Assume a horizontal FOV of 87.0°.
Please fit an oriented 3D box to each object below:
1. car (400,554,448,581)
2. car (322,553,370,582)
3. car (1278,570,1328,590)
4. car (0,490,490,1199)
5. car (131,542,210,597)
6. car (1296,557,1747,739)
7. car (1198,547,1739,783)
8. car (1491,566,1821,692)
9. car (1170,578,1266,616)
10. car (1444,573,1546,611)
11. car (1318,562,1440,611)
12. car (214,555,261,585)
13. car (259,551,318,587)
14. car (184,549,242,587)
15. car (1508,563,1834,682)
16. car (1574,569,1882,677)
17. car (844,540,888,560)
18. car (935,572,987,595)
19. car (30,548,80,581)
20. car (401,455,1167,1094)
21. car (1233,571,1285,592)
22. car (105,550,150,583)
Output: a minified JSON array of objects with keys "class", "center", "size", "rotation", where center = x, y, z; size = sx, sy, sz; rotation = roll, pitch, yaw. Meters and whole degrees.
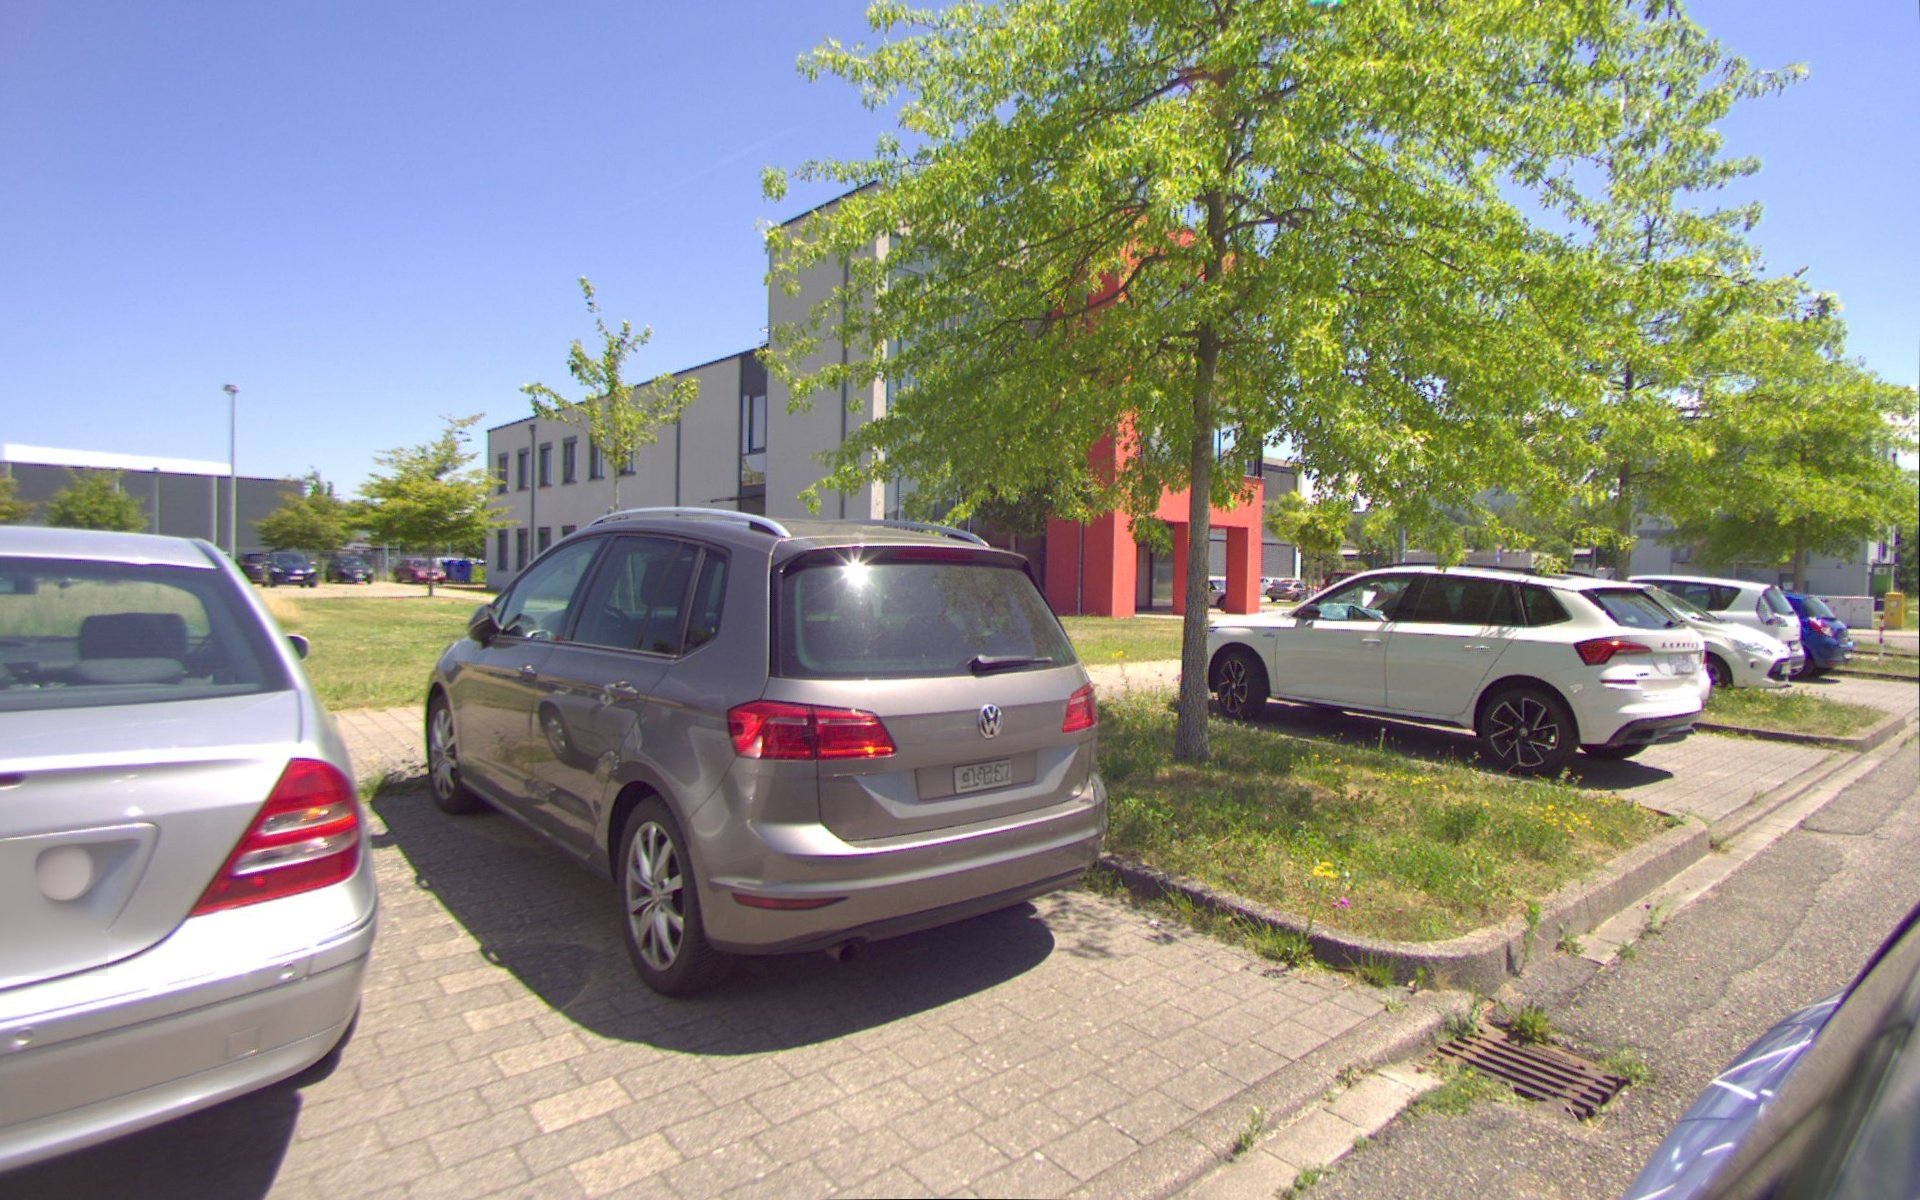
[{"class":"car","center":[-31.721,-1.934,59.820],"size":[1.689,1.528,3.995],"rotation":[0,3,-41]},{"class":"car","center":[-34.489,-1.817,56.764],"size":[1.689,1.528,3.995],"rotation":[0,3,-41]},{"class":"car","center":[28.128,-1.669,83.070],"size":[1.630,1.519,3.623],"rotation":[-3,4,-40]},{"class":"car","center":[-2.871,0.440,3.077],"size":[1.616,1.470,4.057],"rotation":[0,4,-40]},{"class":"car","center":[-23.196,-0.912,29.694],"size":[1.689,1.528,3.330],"rotation":[0,2,-41]},{"class":"car","center":[5.833,0.352,10.876],"size":[1.748,1.543,3.842],"rotation":[0,3,-41]},{"class":"car","center":[4.186,0.368,8.900],"size":[1.746,1.572,3.848],"rotation":[1,2,-36]},{"class":"car","center":[10.051,0.324,14.837],"size":[1.582,1.481,3.628],"rotation":[1,3,-39]},{"class":"car","center":[11.391,-0.138,44.764],"size":[1.758,1.460,3.699],"rotation":[3,0,-44]},{"class":"car","center":[23.491,-0.380,44.502],"size":[1.656,1.519,3.621],"rotation":[-3,4,-42]},{"class":"car","center":[16.322,-0.529,39.564],"size":[1.779,1.798,3.994],"rotation":[3,-1,-41]},{"class":"car","center":[-38.056,-1.594,53.301],"size":[1.689,1.528,3.995],"rotation":[0,3,-41]},{"class":"car","center":[-30.303,-1.421,45.629],"size":[1.690,1.528,3.994],"rotation":[0,3,-42]},{"class":"car","center":[-32.505,-1.405,43.977],"size":[1.690,1.528,3.994],"rotation":[0,3,-42]},{"class":"car","center":[11.735,0.281,16.949],"size":[1.742,1.670,4.121],"rotation":[1,2,-39]},{"class":"car","center":[13.589,0.324,18.125],"size":[1.695,1.508,4.010],"rotation":[1,4,-37]},{"class":"car","center":[-7.389,-3.962,79.587],"size":[1.631,1.487,3.622],"rotation":[0,3,-42]},{"class":"car","center":[0.072,-1.150,71.118],"size":[1.631,1.487,3.622],"rotation":[-3,4,-42]},{"class":"car","center":[-43.469,-1.728,48.682],"size":[1.689,1.470,3.995],"rotation":[0,3,-41]},{"class":"car","center":[-1.210,0.325,4.684],"size":[1.663,1.644,4.057],"rotation":[0,4,-40]},{"class":"car","center":[23.572,-1.453,79.920],"size":[1.630,1.519,3.623],"rotation":[-3,4,-40]},{"class":"car","center":[-41.403,-1.680,50.308],"size":[1.689,1.528,3.995],"rotation":[0,3,-41]}]
